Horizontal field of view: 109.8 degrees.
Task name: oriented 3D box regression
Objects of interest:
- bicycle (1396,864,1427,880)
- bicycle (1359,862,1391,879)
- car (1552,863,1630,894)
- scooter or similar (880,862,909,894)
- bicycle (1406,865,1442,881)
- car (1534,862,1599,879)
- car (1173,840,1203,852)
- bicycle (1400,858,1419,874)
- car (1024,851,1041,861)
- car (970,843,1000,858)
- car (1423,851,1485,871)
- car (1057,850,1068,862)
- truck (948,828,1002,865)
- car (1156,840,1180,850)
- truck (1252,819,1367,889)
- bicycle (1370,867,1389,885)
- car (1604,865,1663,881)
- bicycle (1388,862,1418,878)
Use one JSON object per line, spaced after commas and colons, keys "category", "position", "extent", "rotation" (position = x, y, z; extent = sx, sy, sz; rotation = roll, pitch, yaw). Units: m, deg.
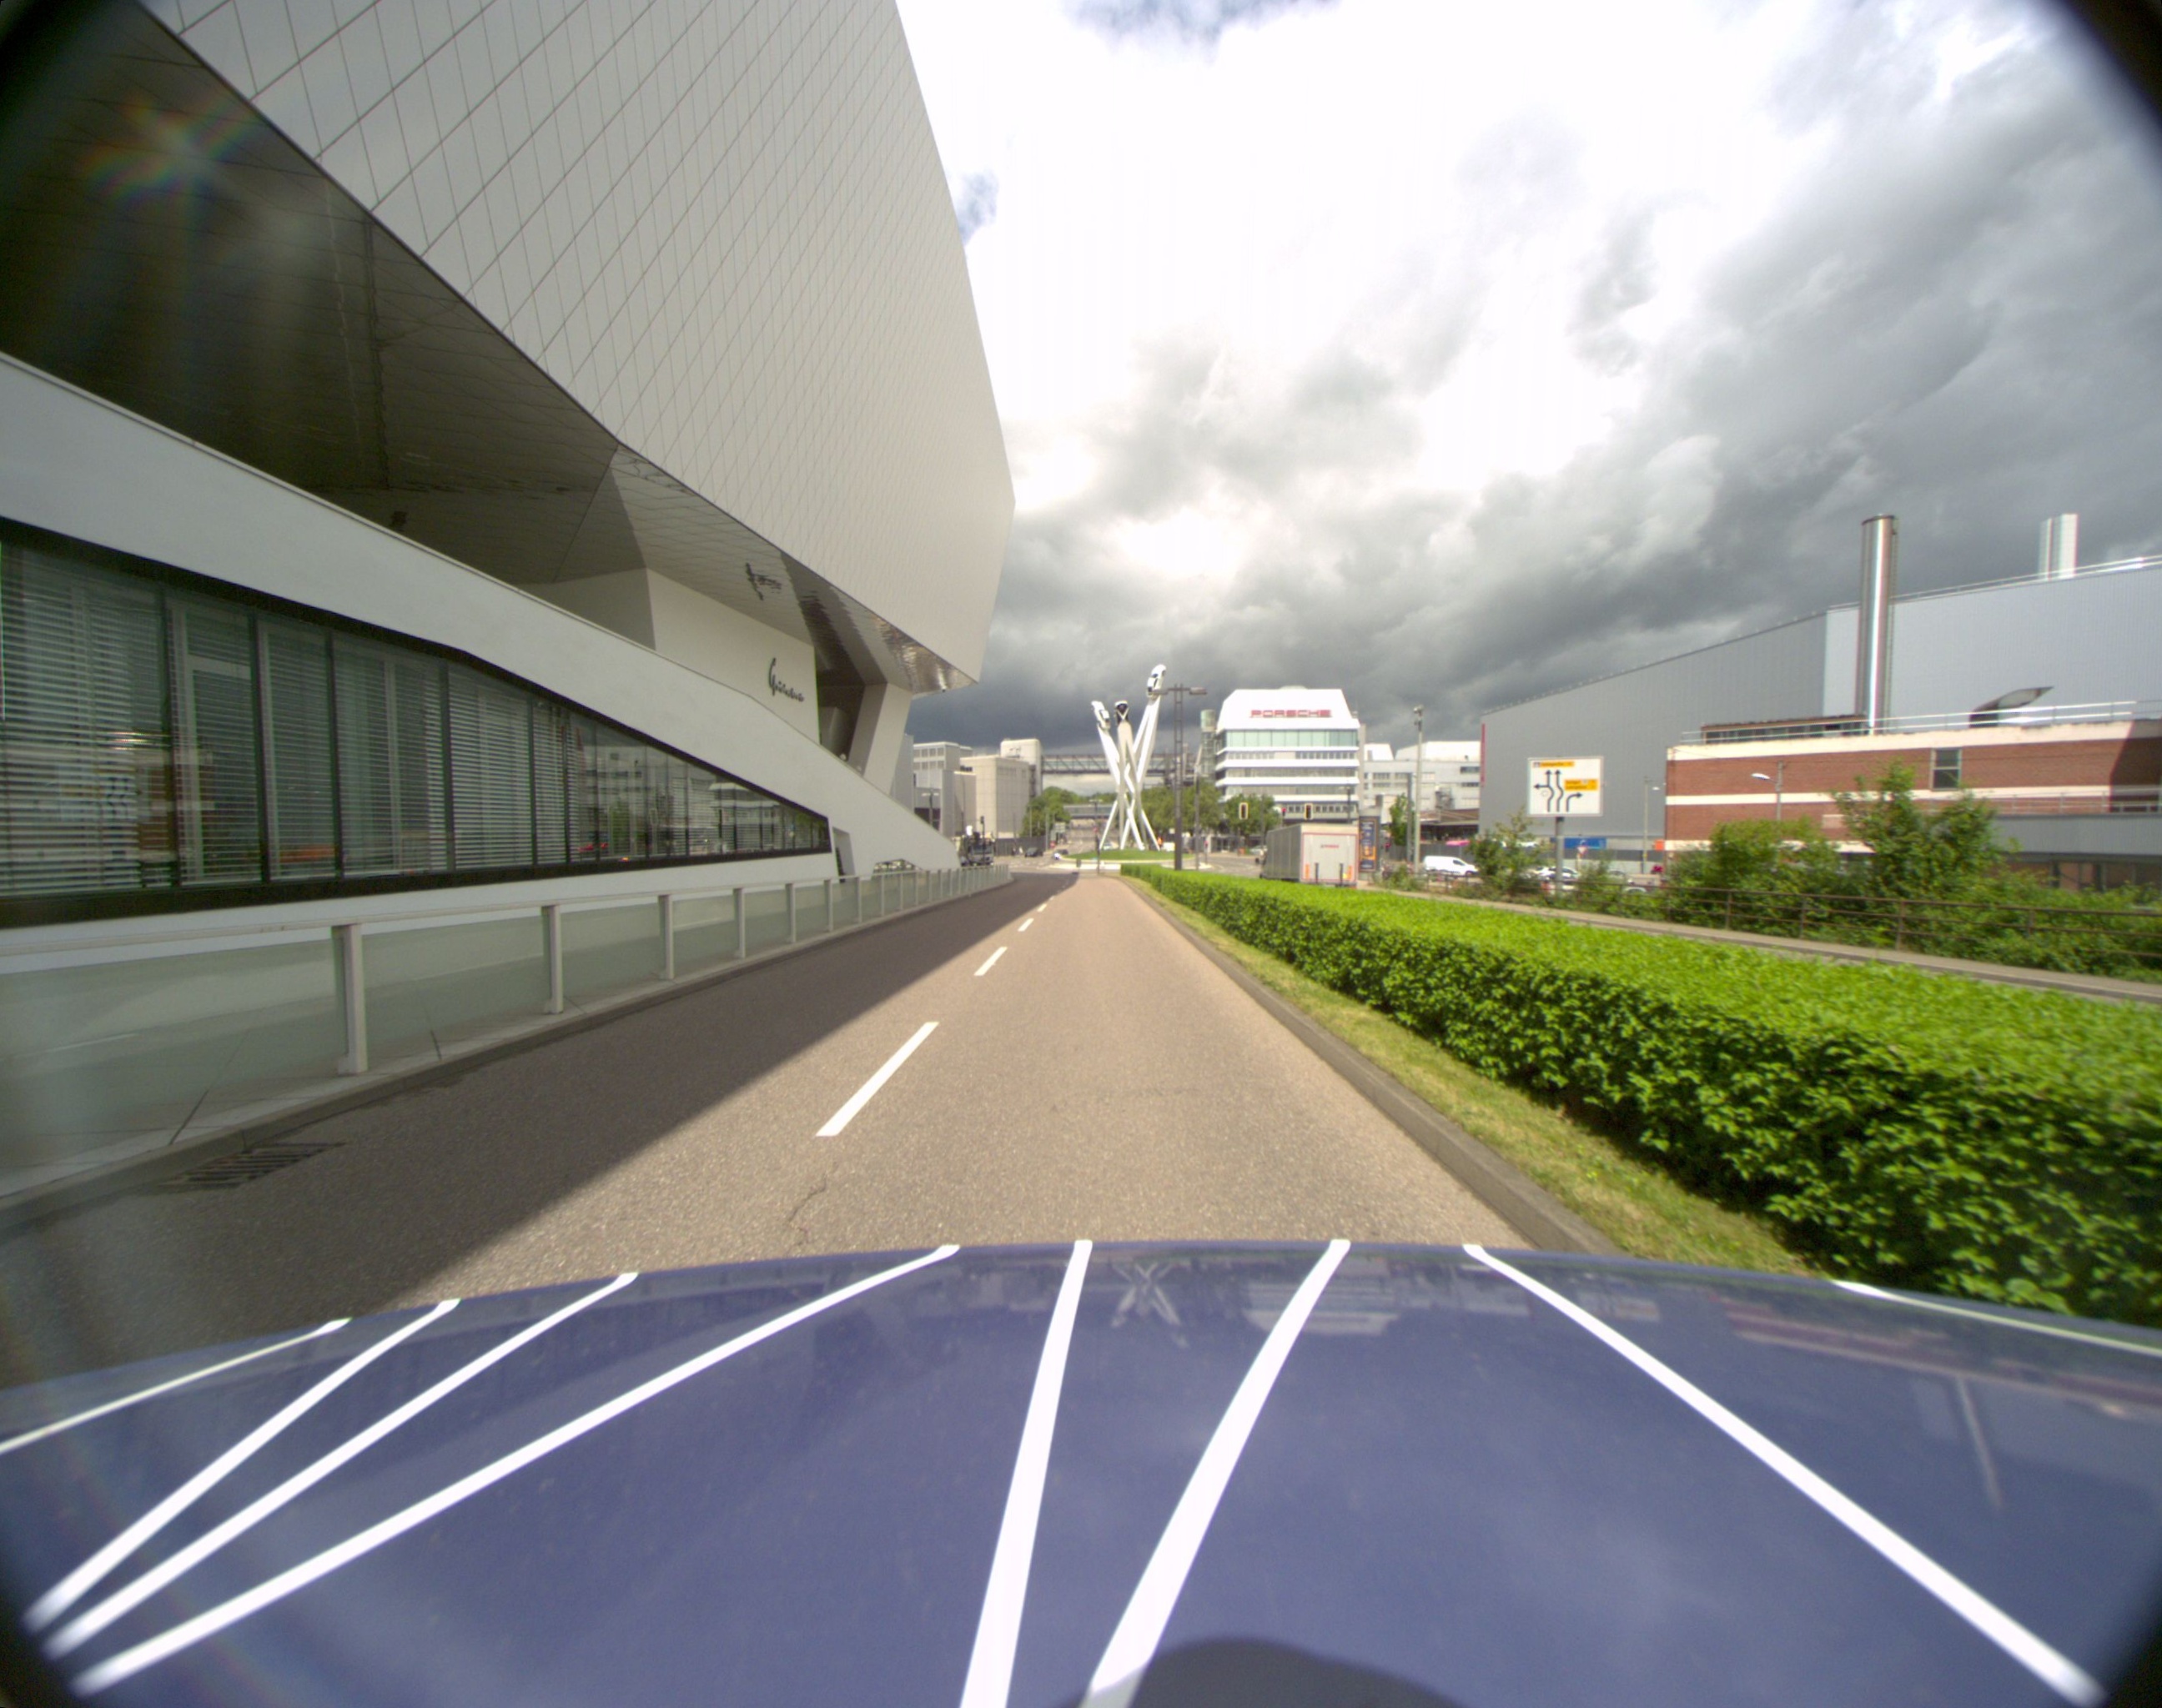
{"category": "bicycle", "position": [20.679, 1.129, 47.511], "extent": [1.952, 0.983, 0.620], "rotation": [0, 0, -23]}
{"category": "bicycle", "position": [20.813, 1.179, 53.863], "extent": [2.041, 1.161, 0.621], "rotation": [0, 1, 10]}
{"category": "car", "position": [32.748, 1.535, 48.896], "extent": [3.989, 1.850, 1.754], "rotation": [0, 1, 29]}
{"category": "scooter or similar", "position": [-7.720, 0.979, 31.485], "extent": [0.708, 1.236, 1.952], "rotation": [-1, 1, 0]}
{"category": "bicycle", "position": [20.901, 1.147, 46.303], "extent": [1.950, 0.983, 0.621], "rotation": [0, 0, -8]}
{"category": "car", "position": [39.801, 1.330, 62.380], "extent": [4.182, 1.362, 1.622], "rotation": [0, 1, 9]}
{"category": "car", "position": [16.326, -1.198, 115.592], "extent": [4.184, 1.686, 1.958], "rotation": [1, 1, 44]}
{"category": "bicycle", "position": [21.809, 0.791, 50.499], "extent": [0.520, 0.983, 1.950], "rotation": [0, 0, 4]}
{"category": "car", "position": [-7.722, 0.258, 121.477], "extent": [1.830, 1.555, 4.002], "rotation": [0, 1, 8]}
{"category": "car", "position": [-12.963, -0.511, 102.793], "extent": [2.160, 1.899, 5.311], "rotation": [0, 1, 16]}
{"category": "car", "position": [34.774, 0.616, 70.994], "extent": [4.859, 1.812, 2.002], "rotation": [0, 1, 12]}
{"category": "car", "position": [-2.750, 0.300, 114.307], "extent": [1.586, 1.630, 3.803], "rotation": [0, 0, 1]}
{"category": "truck", "position": [-11.505, -0.817, 81.251], "extent": [2.849, 3.669, 10.730], "rotation": [-1, 1, -24]}
{"category": "car", "position": [15.168, -1.591, 132.831], "extent": [2.003, 1.819, 4.390], "rotation": [-1, 1, -32]}
{"category": "truck", "position": [10.370, 0.101, 35.720], "extent": [2.862, 2.840, 9.380], "rotation": [0, -1, 2]}
{"category": "bicycle", "position": [17.128, 1.236, 43.587], "extent": [0.520, 0.983, 1.951], "rotation": [0, 0, 7]}
{"category": "car", "position": [44.970, 1.559, 61.867], "extent": [3.614, 1.235, 1.469], "rotation": [0, 1, 9]}
{"category": "bicycle", "position": [20.416, 0.981, 48.178], "extent": [1.952, 0.983, 0.620], "rotation": [0, 0, -23]}
